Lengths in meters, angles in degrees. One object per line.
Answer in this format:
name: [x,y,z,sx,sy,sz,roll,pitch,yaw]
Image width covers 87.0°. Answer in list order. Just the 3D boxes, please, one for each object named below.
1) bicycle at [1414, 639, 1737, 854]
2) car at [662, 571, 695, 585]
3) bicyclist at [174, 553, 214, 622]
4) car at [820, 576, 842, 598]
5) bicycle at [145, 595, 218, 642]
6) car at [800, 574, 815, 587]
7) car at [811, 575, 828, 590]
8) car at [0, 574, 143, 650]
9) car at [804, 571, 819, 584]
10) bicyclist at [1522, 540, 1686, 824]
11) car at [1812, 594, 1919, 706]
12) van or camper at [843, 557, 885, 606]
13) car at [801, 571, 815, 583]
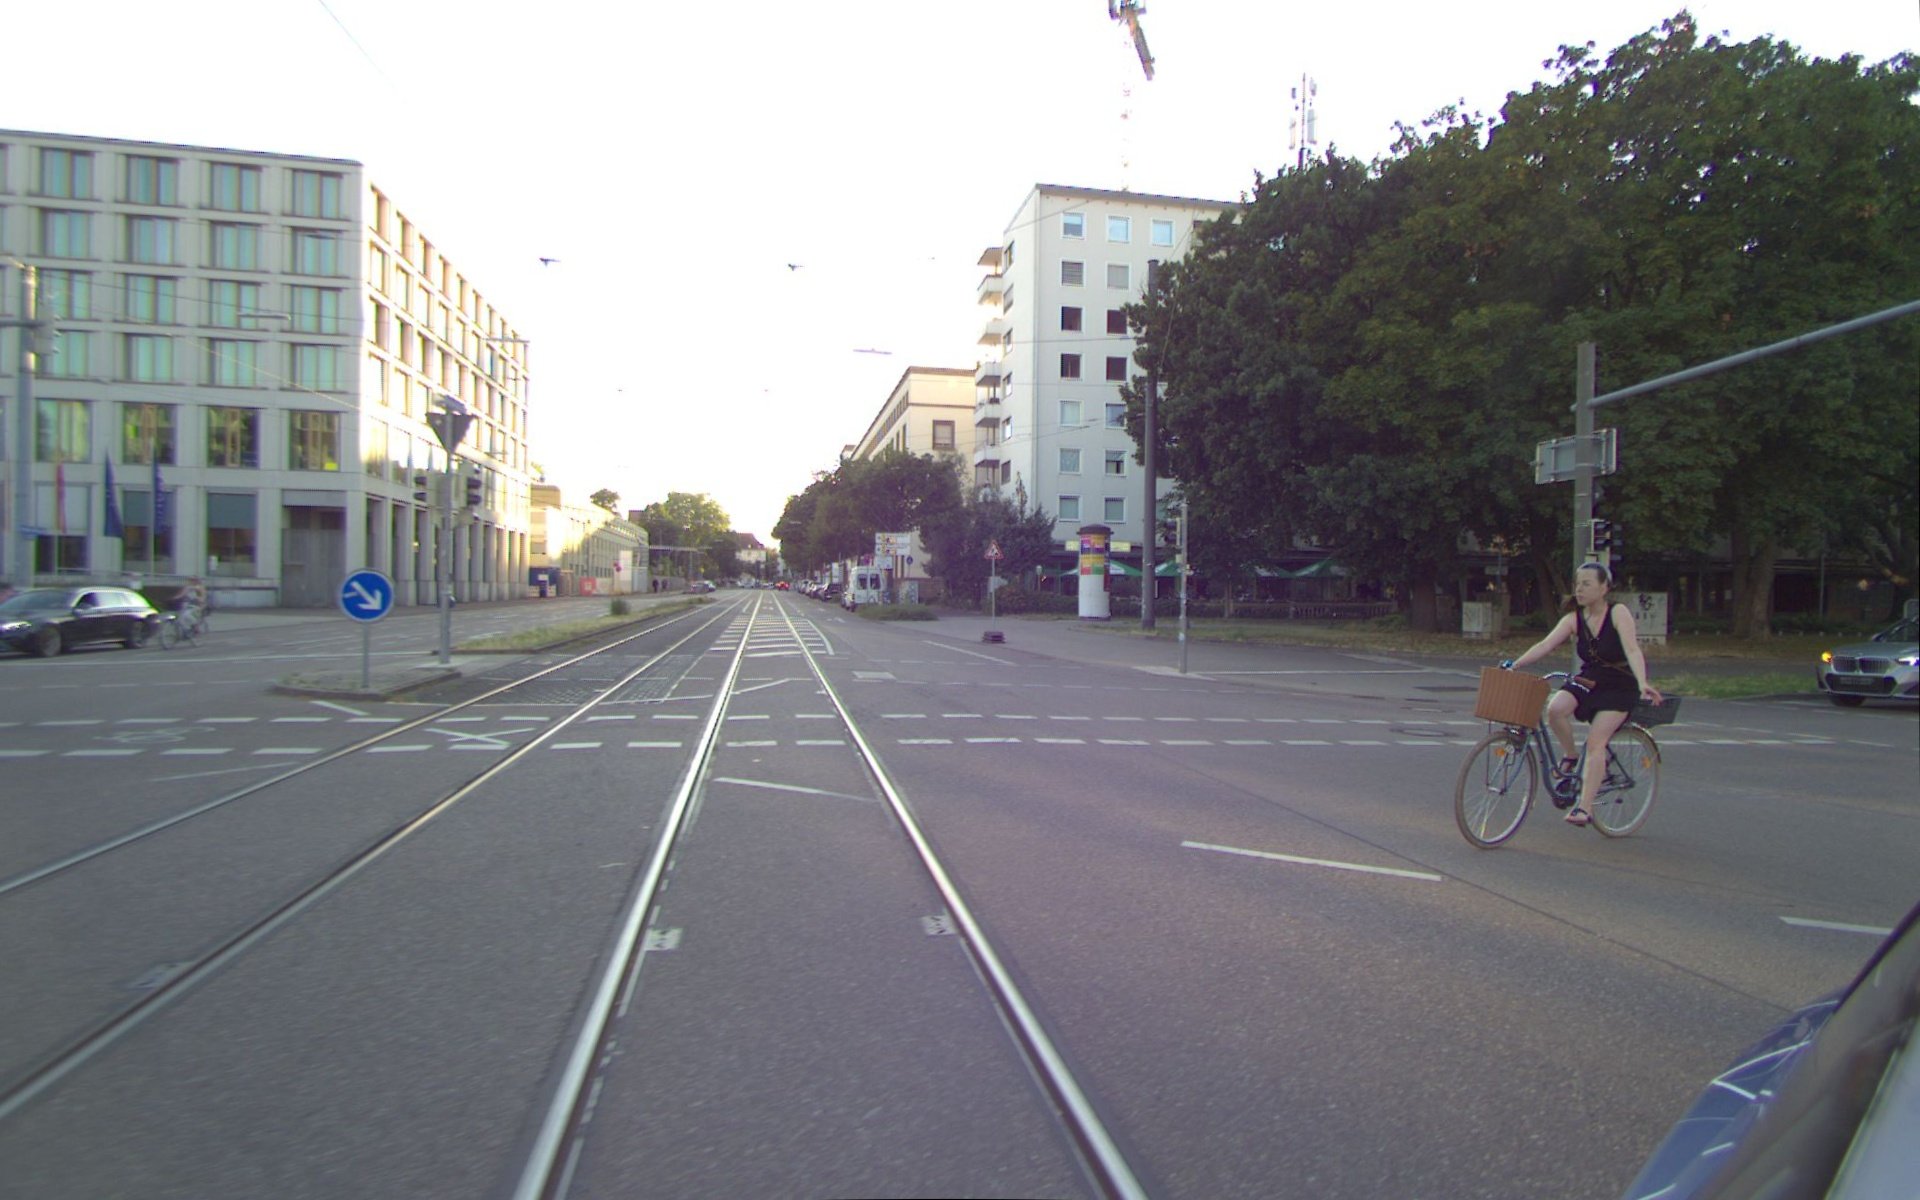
bicycle: [3.822,0.833,6.252,2.042,1.128,0.611,0,1,-23]
car: [-34.912,-2.685,125.608,3.730,1.669,1.867,1,1,-11]
bicyclist: [-18.634,-0.309,24.637,0.530,1.656,0.597,1,1,-5]
car: [-10.580,-1.115,83.110,1.688,1.726,3.815,1,1,-7]
bicycle: [-18.606,0.420,24.219,0.529,1.065,1.763,1,1,-6]
car: [-18.442,-2.356,122.660,1.688,1.448,3.816,1,1,-8]
car: [-14.355,-1.776,103.707,1.688,1.448,3.816,1,1,-8]
car: [-20.610,0.200,22.726,1.779,1.541,4.821,-1,2,-16]
car: [-17.931,-2.767,122.655,1.688,1.505,3.815,1,1,-7]
bicyclist: [3.989,0.470,6.289,0.584,1.656,0.611,1,1,-23]
car: [16.668,0.793,16.567,4.255,1.684,1.891,1,1,-12]
van or camper: [-5.591,-1.095,58.499,2.068,2.715,4.719,1,1,-9]
car: [-20.538,-3.090,136.769,1.688,1.505,3.815,1,1,-7]
